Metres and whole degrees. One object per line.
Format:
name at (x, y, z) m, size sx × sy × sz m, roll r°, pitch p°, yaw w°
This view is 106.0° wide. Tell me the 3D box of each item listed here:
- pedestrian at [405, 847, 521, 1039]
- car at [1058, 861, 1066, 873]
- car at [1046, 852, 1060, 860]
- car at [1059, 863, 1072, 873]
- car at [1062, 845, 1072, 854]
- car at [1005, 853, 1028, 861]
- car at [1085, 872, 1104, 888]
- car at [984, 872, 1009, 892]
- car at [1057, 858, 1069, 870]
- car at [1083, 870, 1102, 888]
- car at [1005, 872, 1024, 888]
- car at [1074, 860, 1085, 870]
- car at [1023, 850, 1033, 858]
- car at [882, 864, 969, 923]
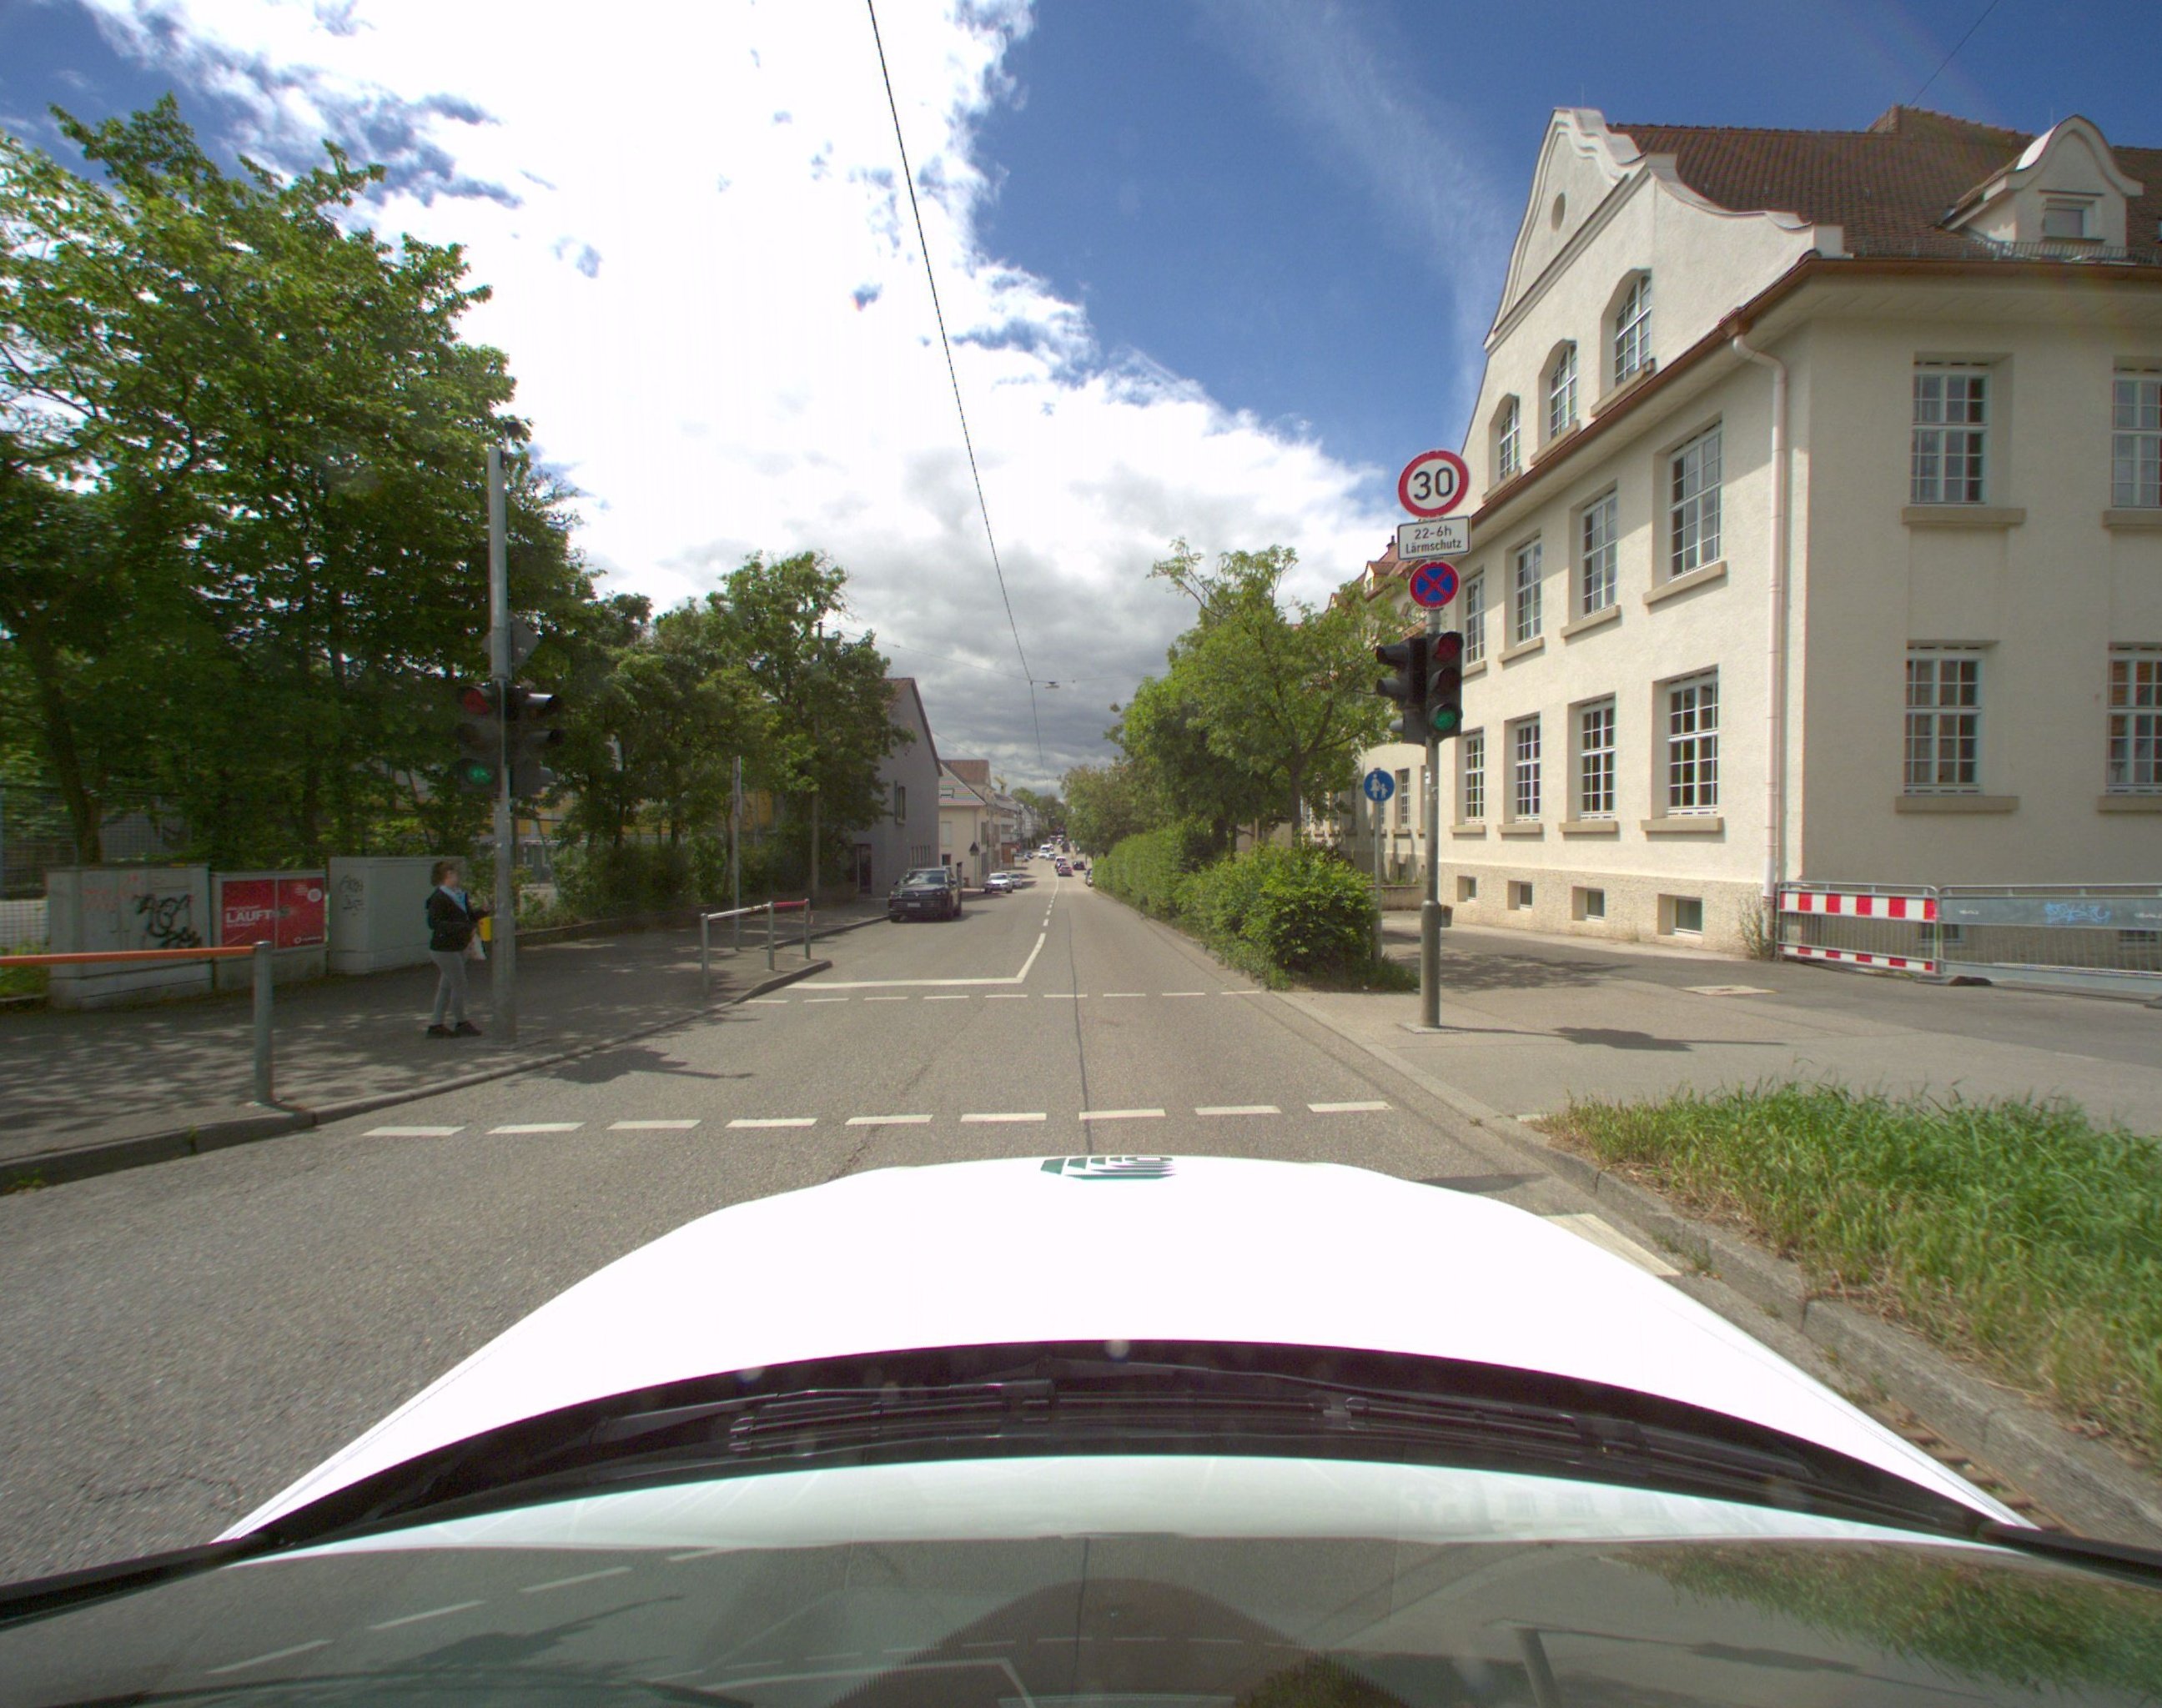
pedestrian at (-5.503, 0.745, 7.280) m, size 0.776 × 1.597 × 0.664 m, roll 1°, pitch -1°, yaw -37°
car at (-2.846, 1.900, 121.476) m, size 1.270 × 1.527 × 3.049 m, roll -1°, pitch 3°, yaw -2°
car at (-5.589, 0.469, 162.138) m, size 1.770 × 1.492 × 4.015 m, roll 1°, pitch -1°, yaw 15°
car at (-2.205, 1.908, 112.760) m, size 1.739 × 1.417 × 3.997 m, roll 0°, pitch 0°, yaw -2°
car at (-3.661, -1.108, 212.697) m, size 2.430 × 2.318 × 5.323 m, roll 1°, pitch 0°, yaw -2°
car at (-12.040, 0.543, 151.787) m, size 4.015 × 1.557 × 1.768 m, roll -1°, pitch -1°, yaw -33°
car at (1.344, 2.641, 82.195) m, size 1.781 × 1.509 × 4.361 m, roll 0°, pitch -1°, yaw -1°
car at (-6.067, 2.052, 58.871) m, size 1.694 × 1.391 × 3.858 m, roll 0°, pitch -3°, yaw -5°
car at (-2.937, 1.570, 131.994) m, size 1.831 × 1.861 × 3.849 m, roll 0°, pitch 2°, yaw -2°
car at (1.223, 2.680, 87.931) m, size 1.839 × 1.768 × 4.512 m, roll 0°, pitch -1°, yaw -1°
car at (-6.261, 2.403, 76.889) m, size 1.642 × 1.419 × 3.696 m, roll 1°, pitch -1°, yaw -2°
car at (-0.281, 1.700, 128.594) m, size 1.747 × 1.370 × 4.000 m, roll 0°, pitch 2°, yaw 0°
car at (-11.158, 0.040, 171.634) m, size 1.866 × 1.640 × 4.000 m, roll 1°, pitch -1°, yaw 1°
car at (-4.732, 1.150, 25.424) m, size 1.789 × 1.610 × 4.645 m, roll 0°, pitch 0°, yaw 0°
